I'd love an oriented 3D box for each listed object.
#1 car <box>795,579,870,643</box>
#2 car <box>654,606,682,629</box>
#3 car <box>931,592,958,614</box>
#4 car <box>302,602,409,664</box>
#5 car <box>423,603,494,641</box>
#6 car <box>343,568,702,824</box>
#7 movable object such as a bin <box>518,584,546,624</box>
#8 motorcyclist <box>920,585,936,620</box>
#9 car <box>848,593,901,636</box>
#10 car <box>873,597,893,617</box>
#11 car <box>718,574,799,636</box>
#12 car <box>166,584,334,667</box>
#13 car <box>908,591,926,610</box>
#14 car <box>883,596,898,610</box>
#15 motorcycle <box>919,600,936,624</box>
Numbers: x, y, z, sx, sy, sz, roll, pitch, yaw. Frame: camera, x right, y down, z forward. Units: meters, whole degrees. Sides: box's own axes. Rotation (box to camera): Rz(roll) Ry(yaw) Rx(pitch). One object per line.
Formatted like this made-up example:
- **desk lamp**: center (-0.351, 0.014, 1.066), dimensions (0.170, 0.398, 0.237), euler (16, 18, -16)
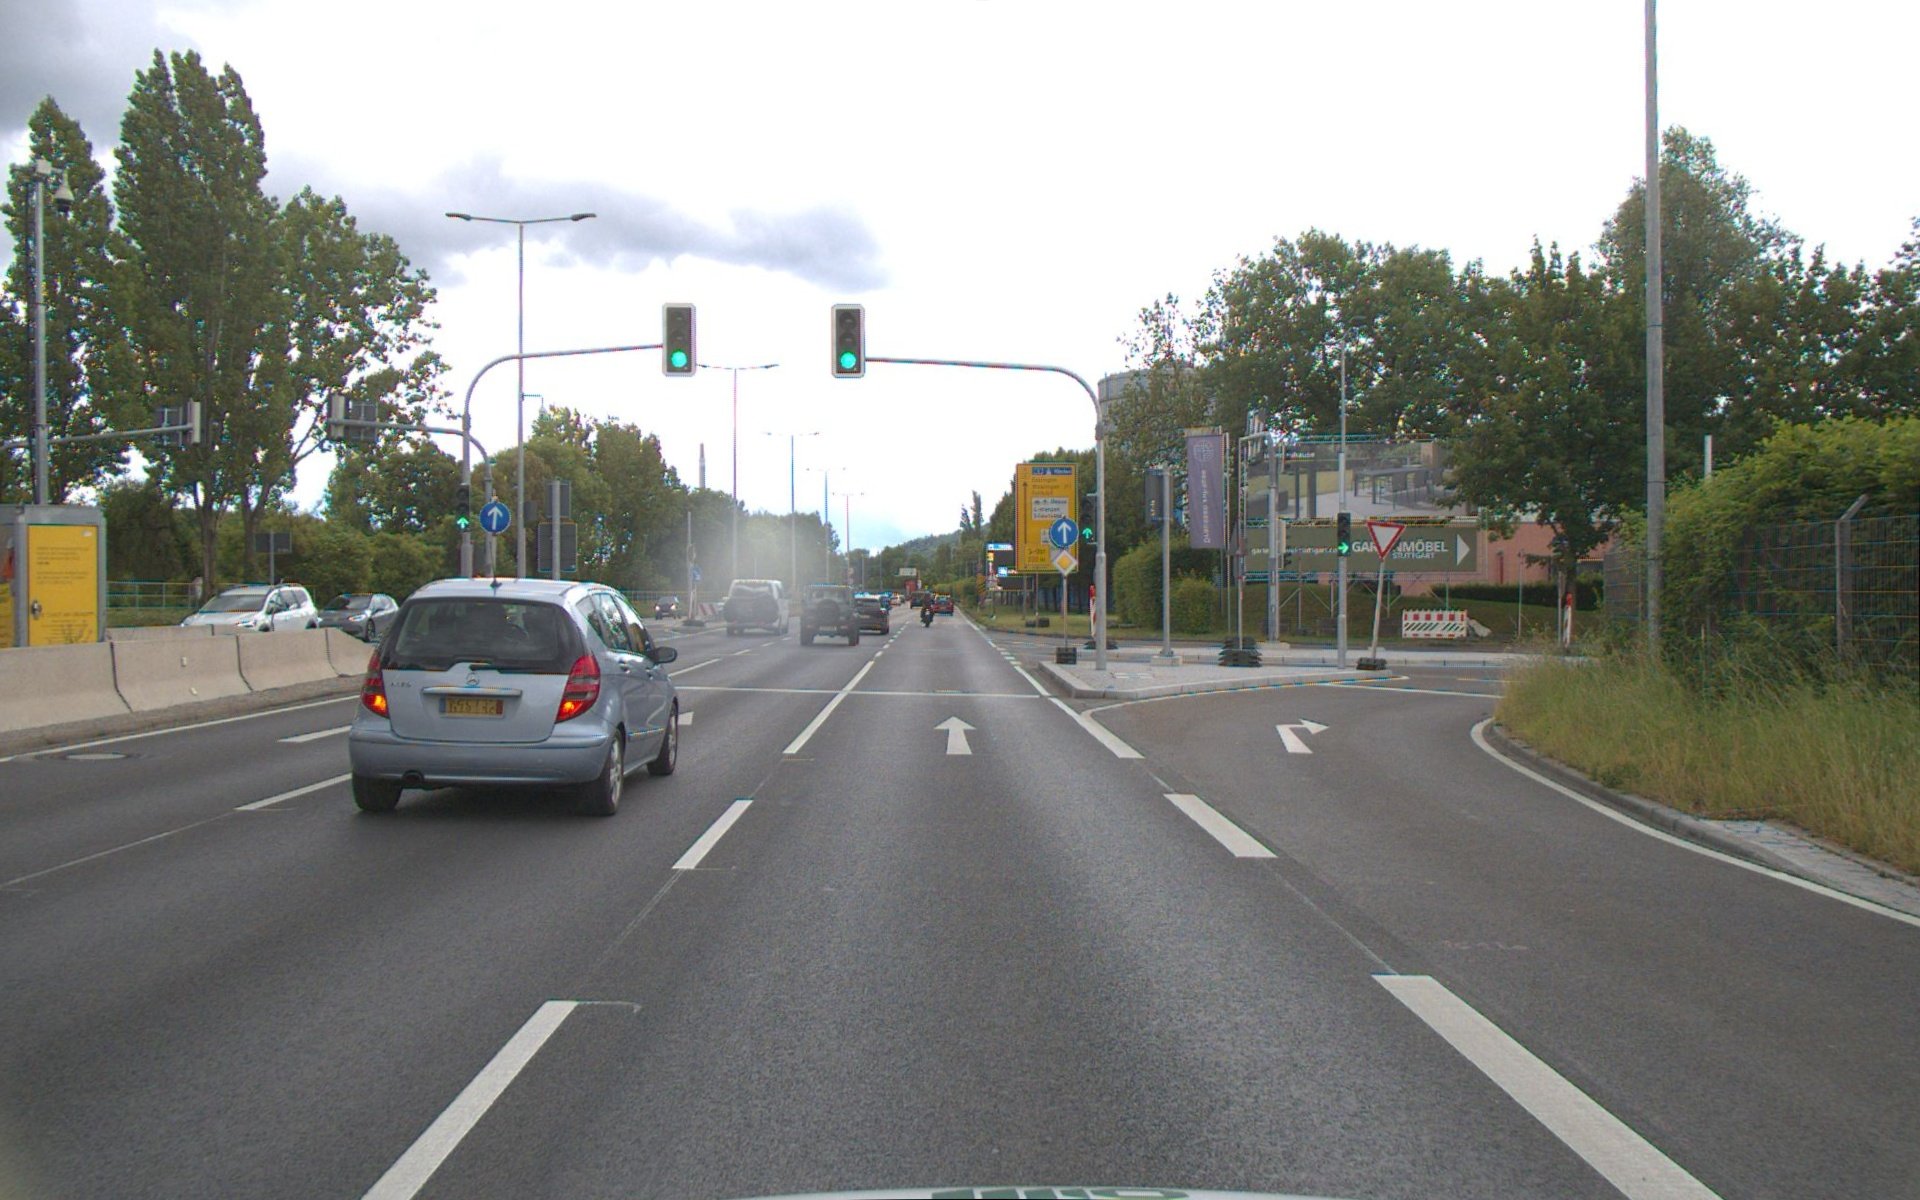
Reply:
- **car**: center (-3.679, 0.294, 48.330), dimensions (1.869, 1.713, 4.000), euler (2, 1, -1)
- **car**: center (-20.136, 1.225, 114.049), dimensions (1.443, 1.488, 2.737), euler (2, 0, -1)
- **car**: center (-1.247, 0.248, 129.736), dimensions (1.953, 1.579, 3.999), euler (2, 1, -2)
- **car**: center (-19.258, 1.024, 52.888), dimensions (1.954, 1.685, 4.286), euler (2, 2, -3)
- **car**: center (-22.239, 0.955, 73.526), dimensions (1.953, 1.578, 4.566), euler (0, 1, -2)
- **car**: center (-3.069, 0.587, 12.431), dimensions (1.676, 1.556, 3.999), euler (2, 1, -2)
- **movable object such as a bin**: center (-11.799, 0.116, 45.601), dimensions (0.530, 1.077, 0.740), euler (2, 0, -1)
- **motorcyclist**: center (-1.489, 0.118, 77.710), dimensions (0.670, 1.638, 0.845), euler (2, 0, 1)
- **car**: center (-3.176, 0.516, 62.142), dimensions (1.803, 1.489, 3.999), euler (2, 1, -1)
- **car**: center (-8.212, 0.725, 176.163), dimensions (1.953, 2.049, 4.000), euler (2, 0, -1)
- **car**: center (-6.922, 0.133, 57.236), dimensions (2.169, 1.959, 5.002), euler (2, 1, -1)
- **car**: center (-16.102, 0.521, 37.758), dimensions (1.953, 1.714, 4.411), euler (2, 1, -1)
- **car**: center (-5.072, 0.059, 196.123), dimensions (1.953, 2.049, 4.000), euler (2, 0, -1)
- **car**: center (-10.359, 0.463, 247.374), dimensions (1.953, 2.049, 4.000), euler (2, 0, -1)
- **motorcycle**: center (-1.508, 0.570, 77.494), dimensions (0.692, 1.058, 2.027), euler (2, 0, 1)
